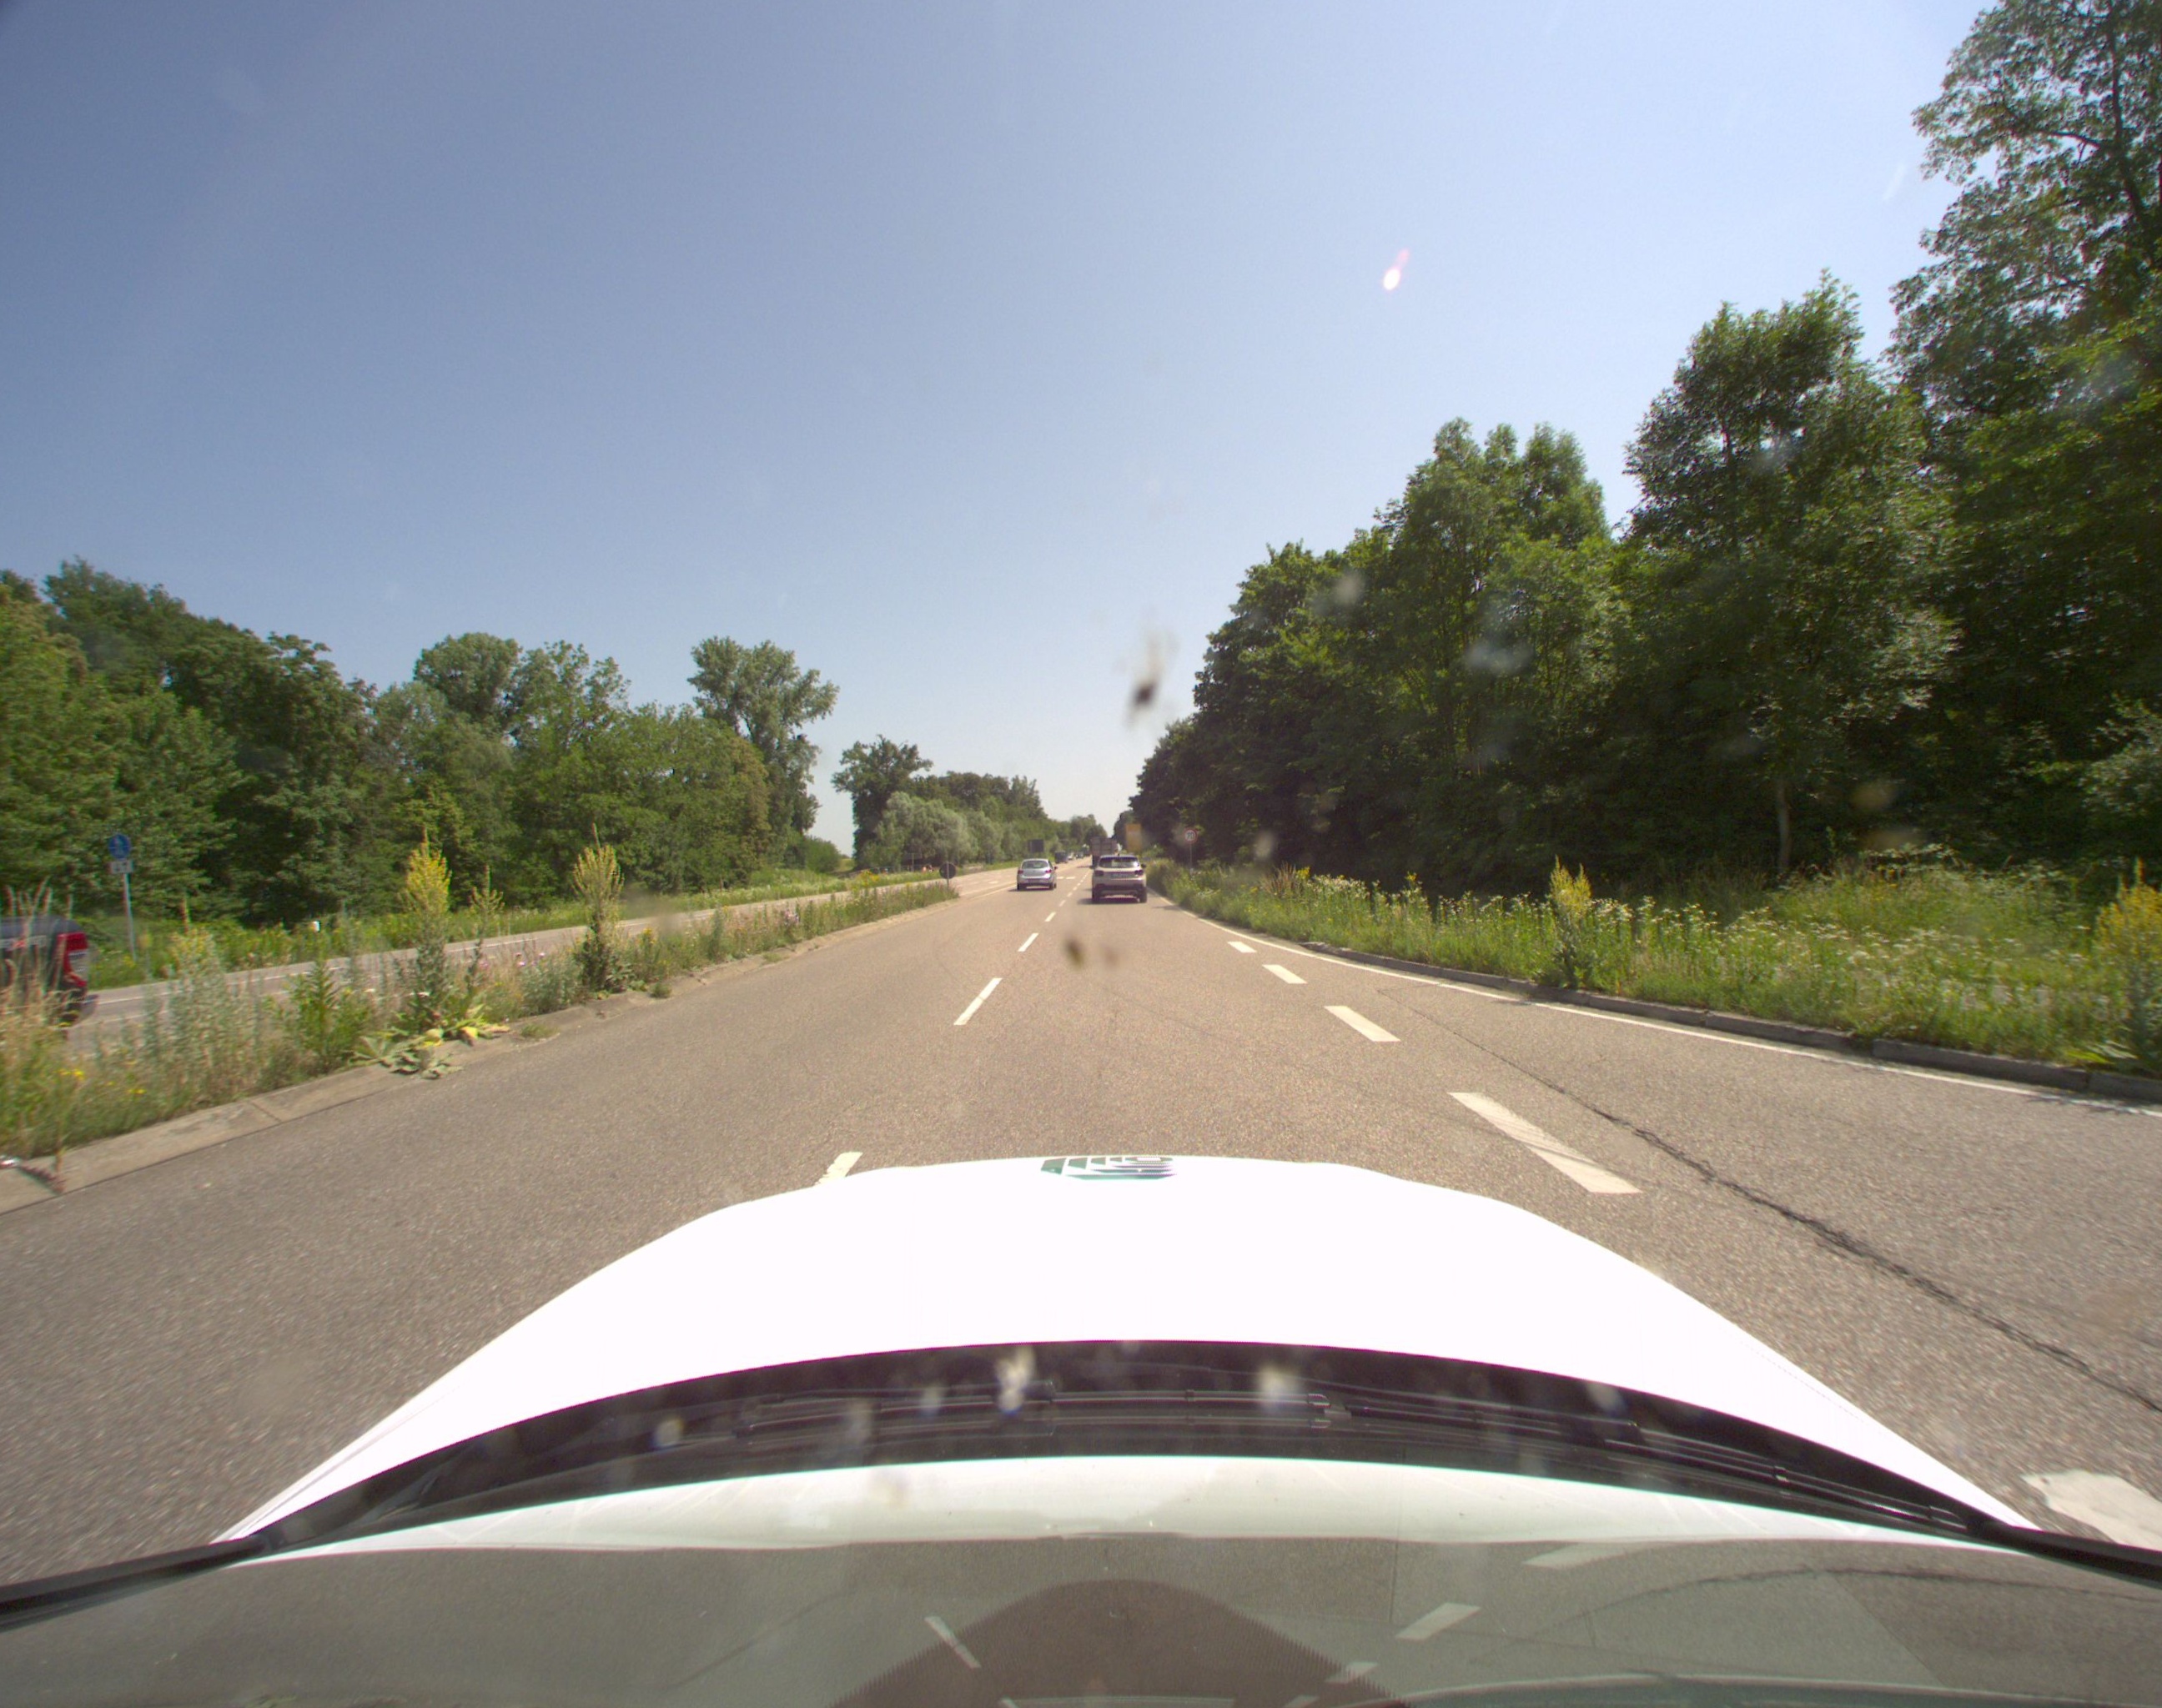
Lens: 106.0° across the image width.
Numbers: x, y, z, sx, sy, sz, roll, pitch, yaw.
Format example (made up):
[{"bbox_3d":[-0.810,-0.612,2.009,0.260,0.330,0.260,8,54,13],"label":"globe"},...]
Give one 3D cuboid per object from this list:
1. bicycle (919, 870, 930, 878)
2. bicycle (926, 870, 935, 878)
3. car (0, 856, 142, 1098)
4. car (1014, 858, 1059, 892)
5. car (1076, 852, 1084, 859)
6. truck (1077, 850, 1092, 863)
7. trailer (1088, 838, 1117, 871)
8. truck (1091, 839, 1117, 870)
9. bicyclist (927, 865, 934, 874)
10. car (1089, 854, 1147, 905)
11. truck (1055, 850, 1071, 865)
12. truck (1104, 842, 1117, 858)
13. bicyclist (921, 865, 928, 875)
[{"bbox_3d":[-20.500,2.638,106.695,0.671,1.005,1.806,-4,0,12],"label":"bicycle"},{"bbox_3d":[-20.457,2.668,110.812,0.600,1.006,1.561,-4,-1,13],"label":"bicycle"},{"bbox_3d":[-8.617,0.928,3.797,1.985,1.677,5.370,-4,0,3],"label":"car"},{"bbox_3d":[-2.002,0.941,37.921,1.659,1.430,3.831,-1,0,3],"label":"car"},{"bbox_3d":[-0.224,0.426,223.834,1.986,1.881,4.962,-3,0,2],"label":"car"},{"bbox_3d":[1.003,0.842,263.534,3.642,4.105,9.486,-3,0,-7],"label":"truck"},{"bbox_3d":[2.973,0.090,107.304,3.368,3.988,10.813,-1,0,3],"label":"trailer"},{"bbox_3d":[3.269,0.086,112.558,3.319,3.989,6.539,-1,0,3],"label":"truck"},{"bbox_3d":[-20.506,2.078,110.914,0.730,1.195,0.594,-4,-1,13],"label":"bicyclist"},{"bbox_3d":[1.251,0.789,27.286,1.760,1.535,4.003,-2,0,3],"label":"car"},{"bbox_3d":[-3.532,0.707,162.734,2.444,2.656,6.496,-5,0,3],"label":"truck"},{"bbox_3d":[8.154,-1.036,226.665,3.484,4.187,10.788,-1,0,2],"label":"truck"},{"bbox_3d":[-20.522,2.069,106.786,0.752,1.195,0.594,-4,0,12],"label":"bicyclist"}]
